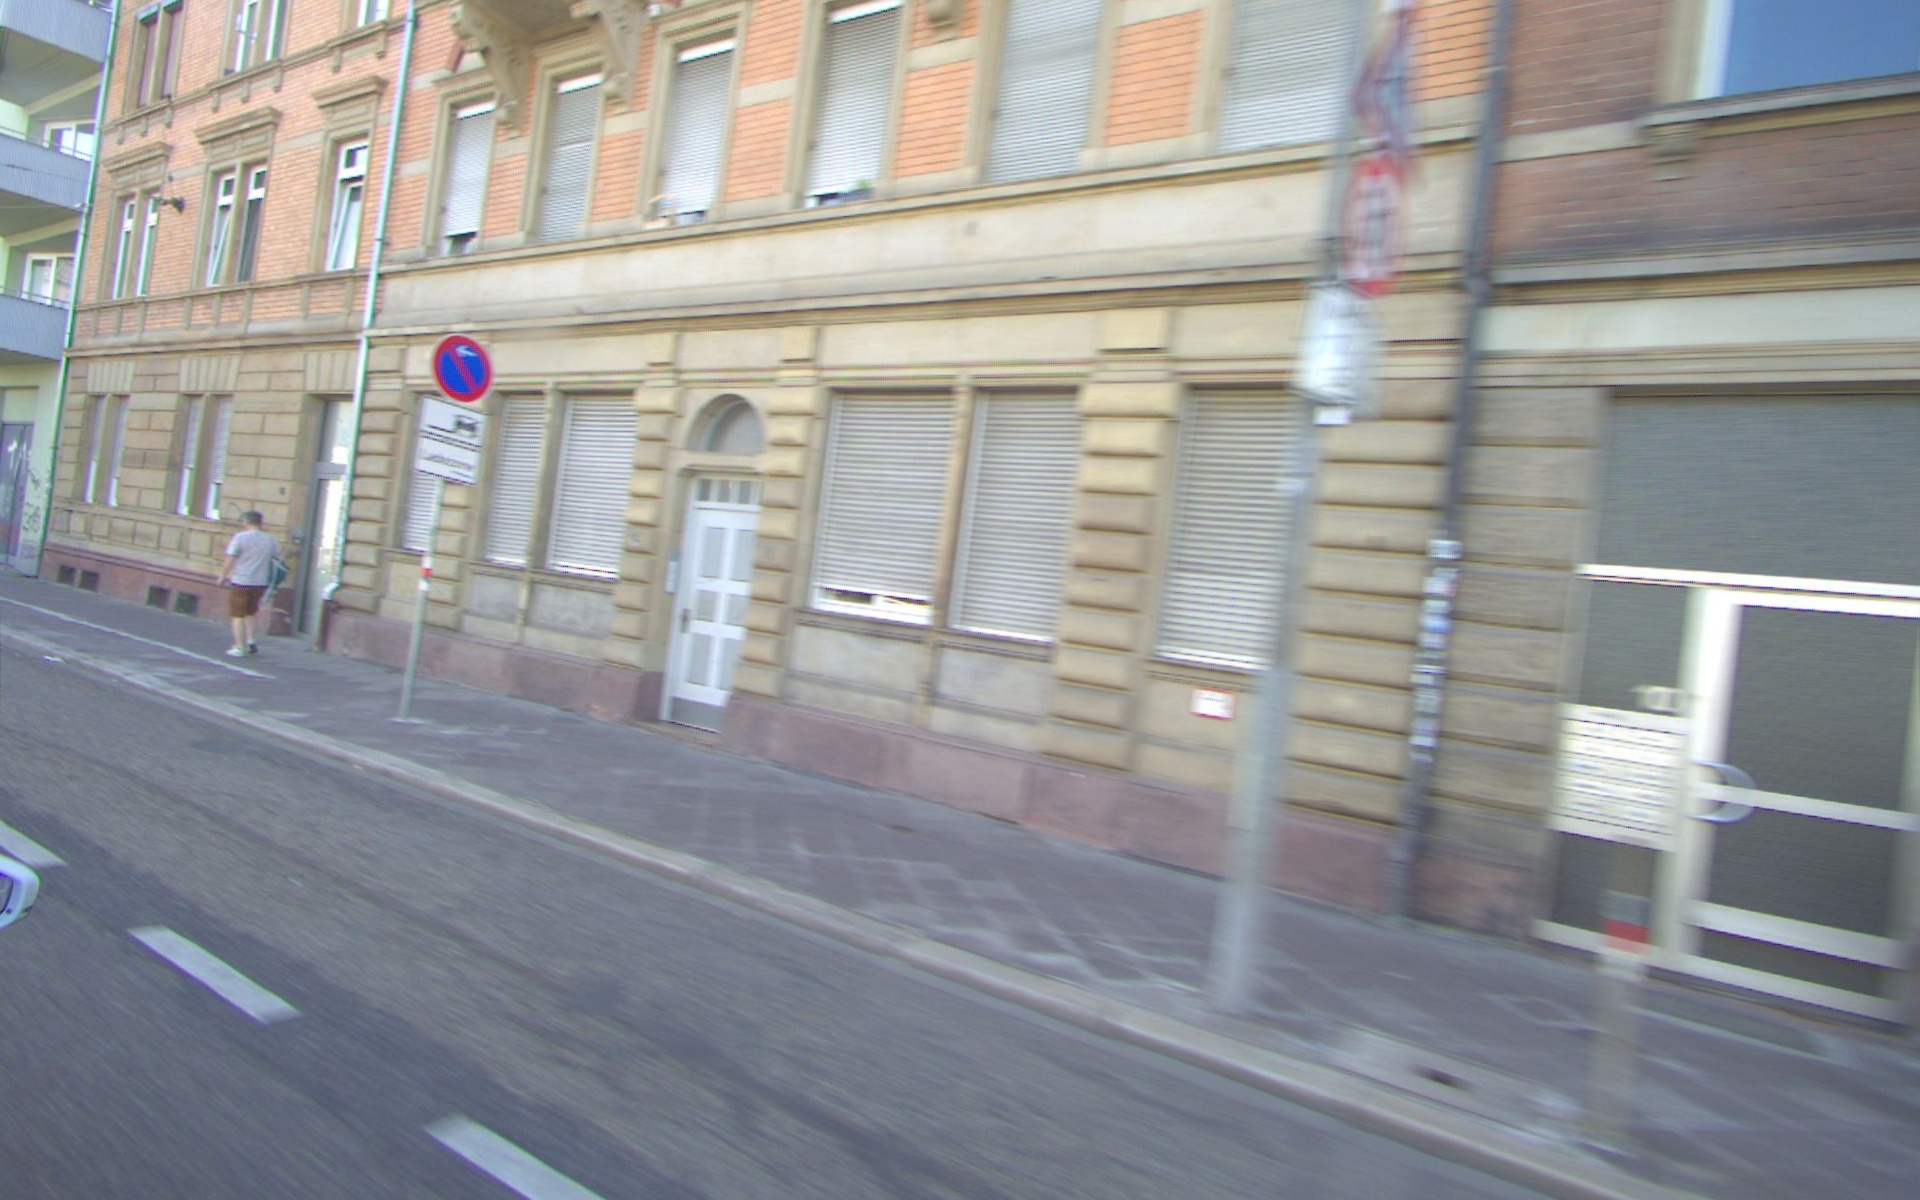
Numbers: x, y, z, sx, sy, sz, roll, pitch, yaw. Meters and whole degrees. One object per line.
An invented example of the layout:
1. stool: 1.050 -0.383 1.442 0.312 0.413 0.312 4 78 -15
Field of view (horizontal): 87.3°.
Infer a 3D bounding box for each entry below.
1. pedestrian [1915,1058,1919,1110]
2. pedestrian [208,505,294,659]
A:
1. pedestrian: 4.209 1.322 3.777 0.642 1.623 0.799 6 -1 34
2. pedestrian: -8.280 -0.199 11.748 0.466 1.722 0.553 7 1 31
